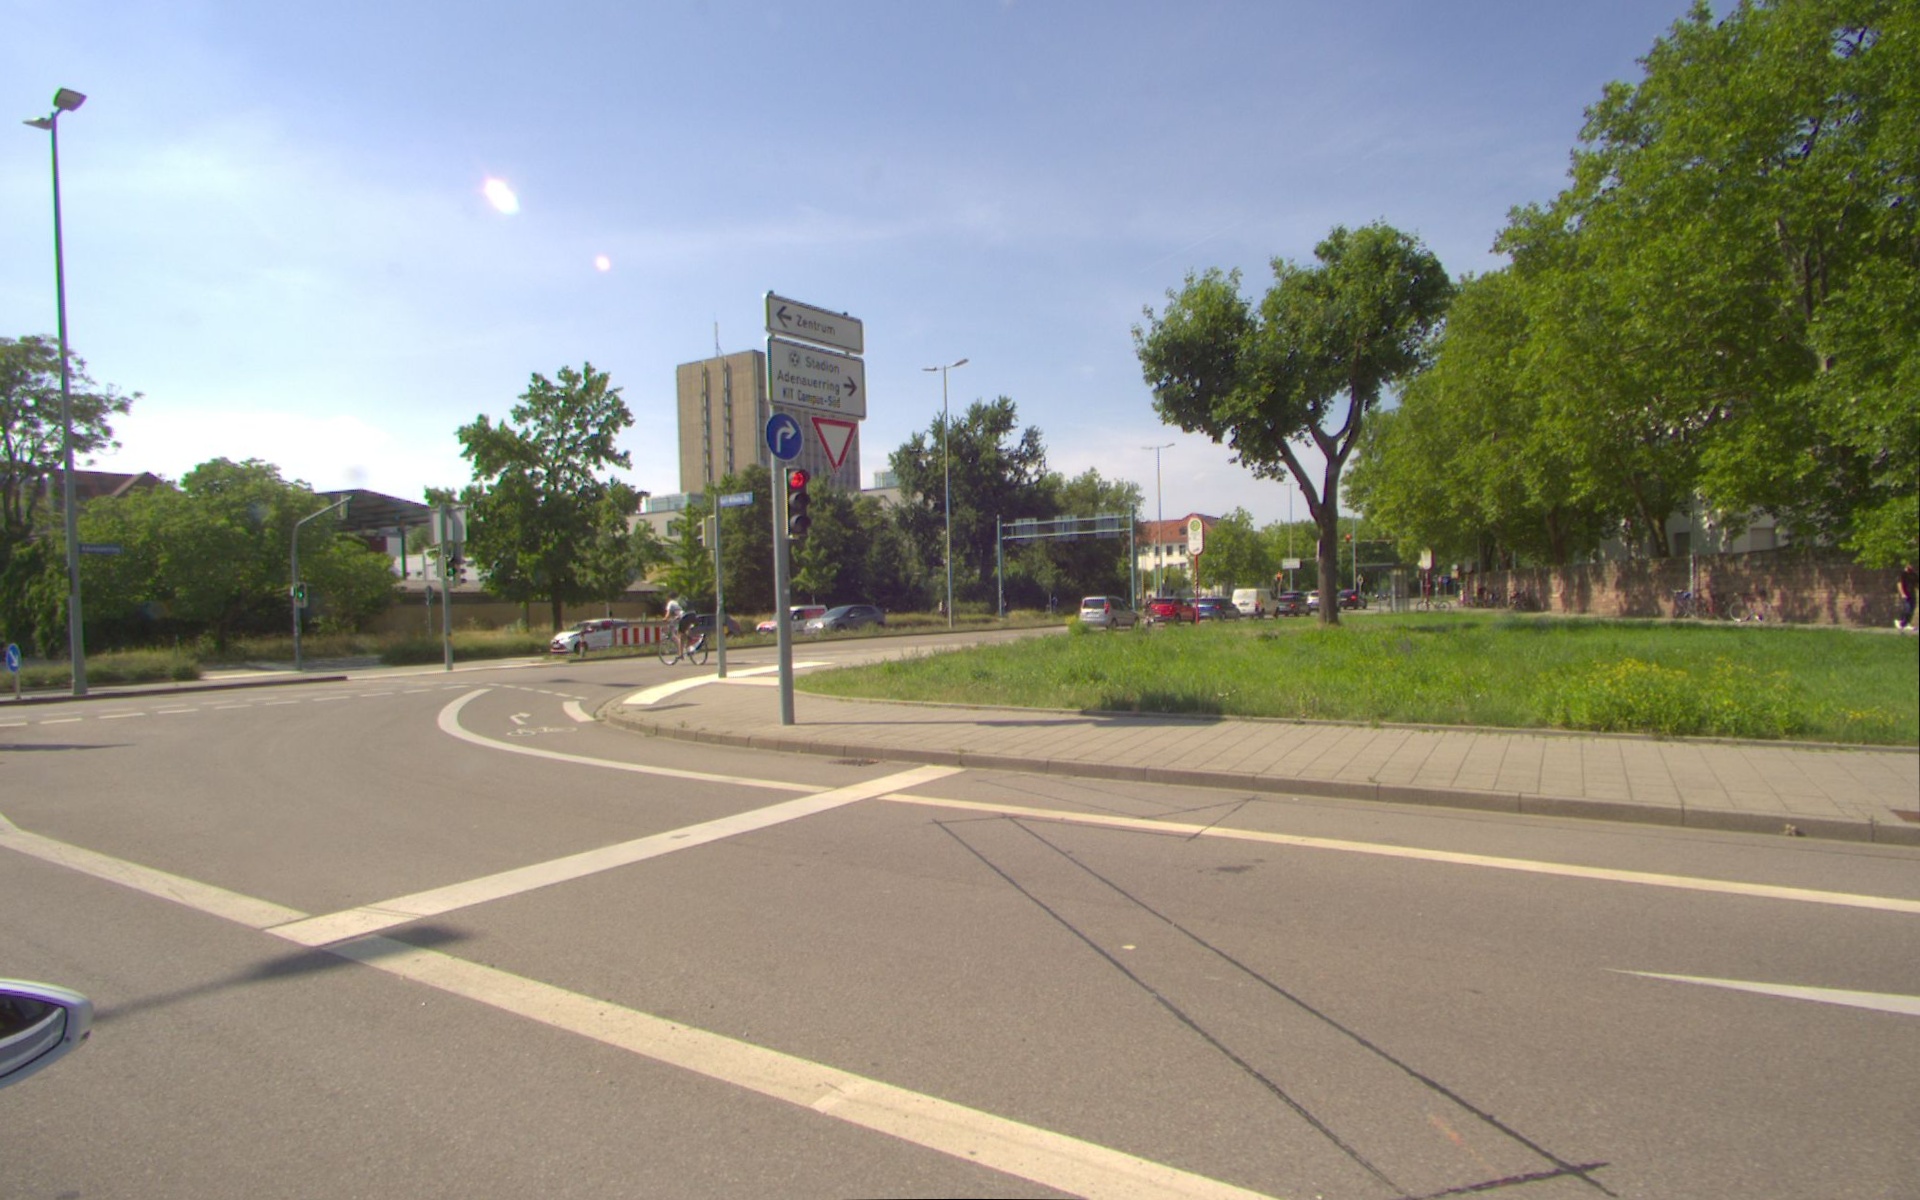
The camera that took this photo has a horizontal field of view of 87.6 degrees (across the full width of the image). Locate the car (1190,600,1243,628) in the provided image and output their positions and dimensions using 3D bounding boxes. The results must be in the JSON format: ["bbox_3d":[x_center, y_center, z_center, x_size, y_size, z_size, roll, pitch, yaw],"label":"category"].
[{"bbox_3d":[15.203,0.813,59.282,1.729,1.493,3.973,-1,1,36],"label":"car"}]

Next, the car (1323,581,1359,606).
[{"bbox_3d":[32.424,-0.586,85.130,1.973,2.040,3.976,-1,1,34],"label":"car"}]

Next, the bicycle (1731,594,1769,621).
[{"bbox_3d":[26.350,0.250,33.404,0.365,0.867,1.307,-1,1,7],"label":"bicycle"}]

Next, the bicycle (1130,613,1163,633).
[{"bbox_3d":[8.431,1.034,45.216,0.554,0.803,1.878,1,2,44],"label":"bicycle"}]

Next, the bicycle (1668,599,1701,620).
[{"bbox_3d":[26.416,0.346,36.531,0.334,0.738,1.364,-1,1,5],"label":"bicycle"}]

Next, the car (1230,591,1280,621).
[{"bbox_3d":[19.068,0.370,64.654,1.729,1.781,4.402,-1,1,36],"label":"car"}]

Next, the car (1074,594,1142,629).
[{"bbox_3d":[7.088,0.518,47.733,1.727,1.528,3.978,-1,1,32],"label":"car"}]

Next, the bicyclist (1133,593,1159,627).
[{"bbox_3d":[8.392,0.440,45.180,0.558,1.494,1.158,0,1,44],"label":"bicyclist"}]

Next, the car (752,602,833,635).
[{"bbox_3d":[-8.889,0.957,53.391,1.883,1.590,4.300,-1,1,32],"label":"car"}]

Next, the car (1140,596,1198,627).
[{"bbox_3d":[11.116,0.578,53.159,1.727,1.528,3.978,-1,1,32],"label":"car"}]

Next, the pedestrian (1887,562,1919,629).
[{"bbox_3d":[25.546,-0.129,26.965,0.608,1.763,0.599,-1,1,3],"label":"pedestrian"}]

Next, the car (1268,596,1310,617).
[{"bbox_3d":[23.179,0.456,70.517,1.729,1.357,3.973,-1,1,36],"label":"car"}]

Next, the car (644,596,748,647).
[{"bbox_3d":[-11.512,0.922,43.861,1.976,2.040,3.971,-3,-1,37],"label":"car"}]

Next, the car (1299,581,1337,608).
[{"bbox_3d":[27.906,-0.431,78.036,1.972,2.040,3.977,-1,1,32],"label":"car"}]

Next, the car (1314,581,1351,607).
[{"bbox_3d":[30.685,-0.480,82.372,1.973,2.040,3.976,-1,1,34],"label":"car"}]

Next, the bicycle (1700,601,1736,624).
[{"bbox_3d":[26.357,0.427,34.846,0.334,0.738,1.364,-1,1,5],"label":"bicycle"}]

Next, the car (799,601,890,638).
[{"bbox_3d":[-5.103,0.854,44.738,1.619,1.424,4.080,-3,-1,37],"label":"car"}]

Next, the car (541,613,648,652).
[{"bbox_3d":[-15.797,1.393,43.465,1.972,1.483,3.978,-2,0,32],"label":"car"}]

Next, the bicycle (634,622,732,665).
[{"bbox_3d":[-6.504,1.018,23.563,2.128,0.928,0.674,-1,1,11],"label":"bicycle"}]

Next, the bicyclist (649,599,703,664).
[{"bbox_3d":[-6.672,0.745,23.538,1.121,1.489,0.496,-1,-1,11],"label":"bicyclist"}]
